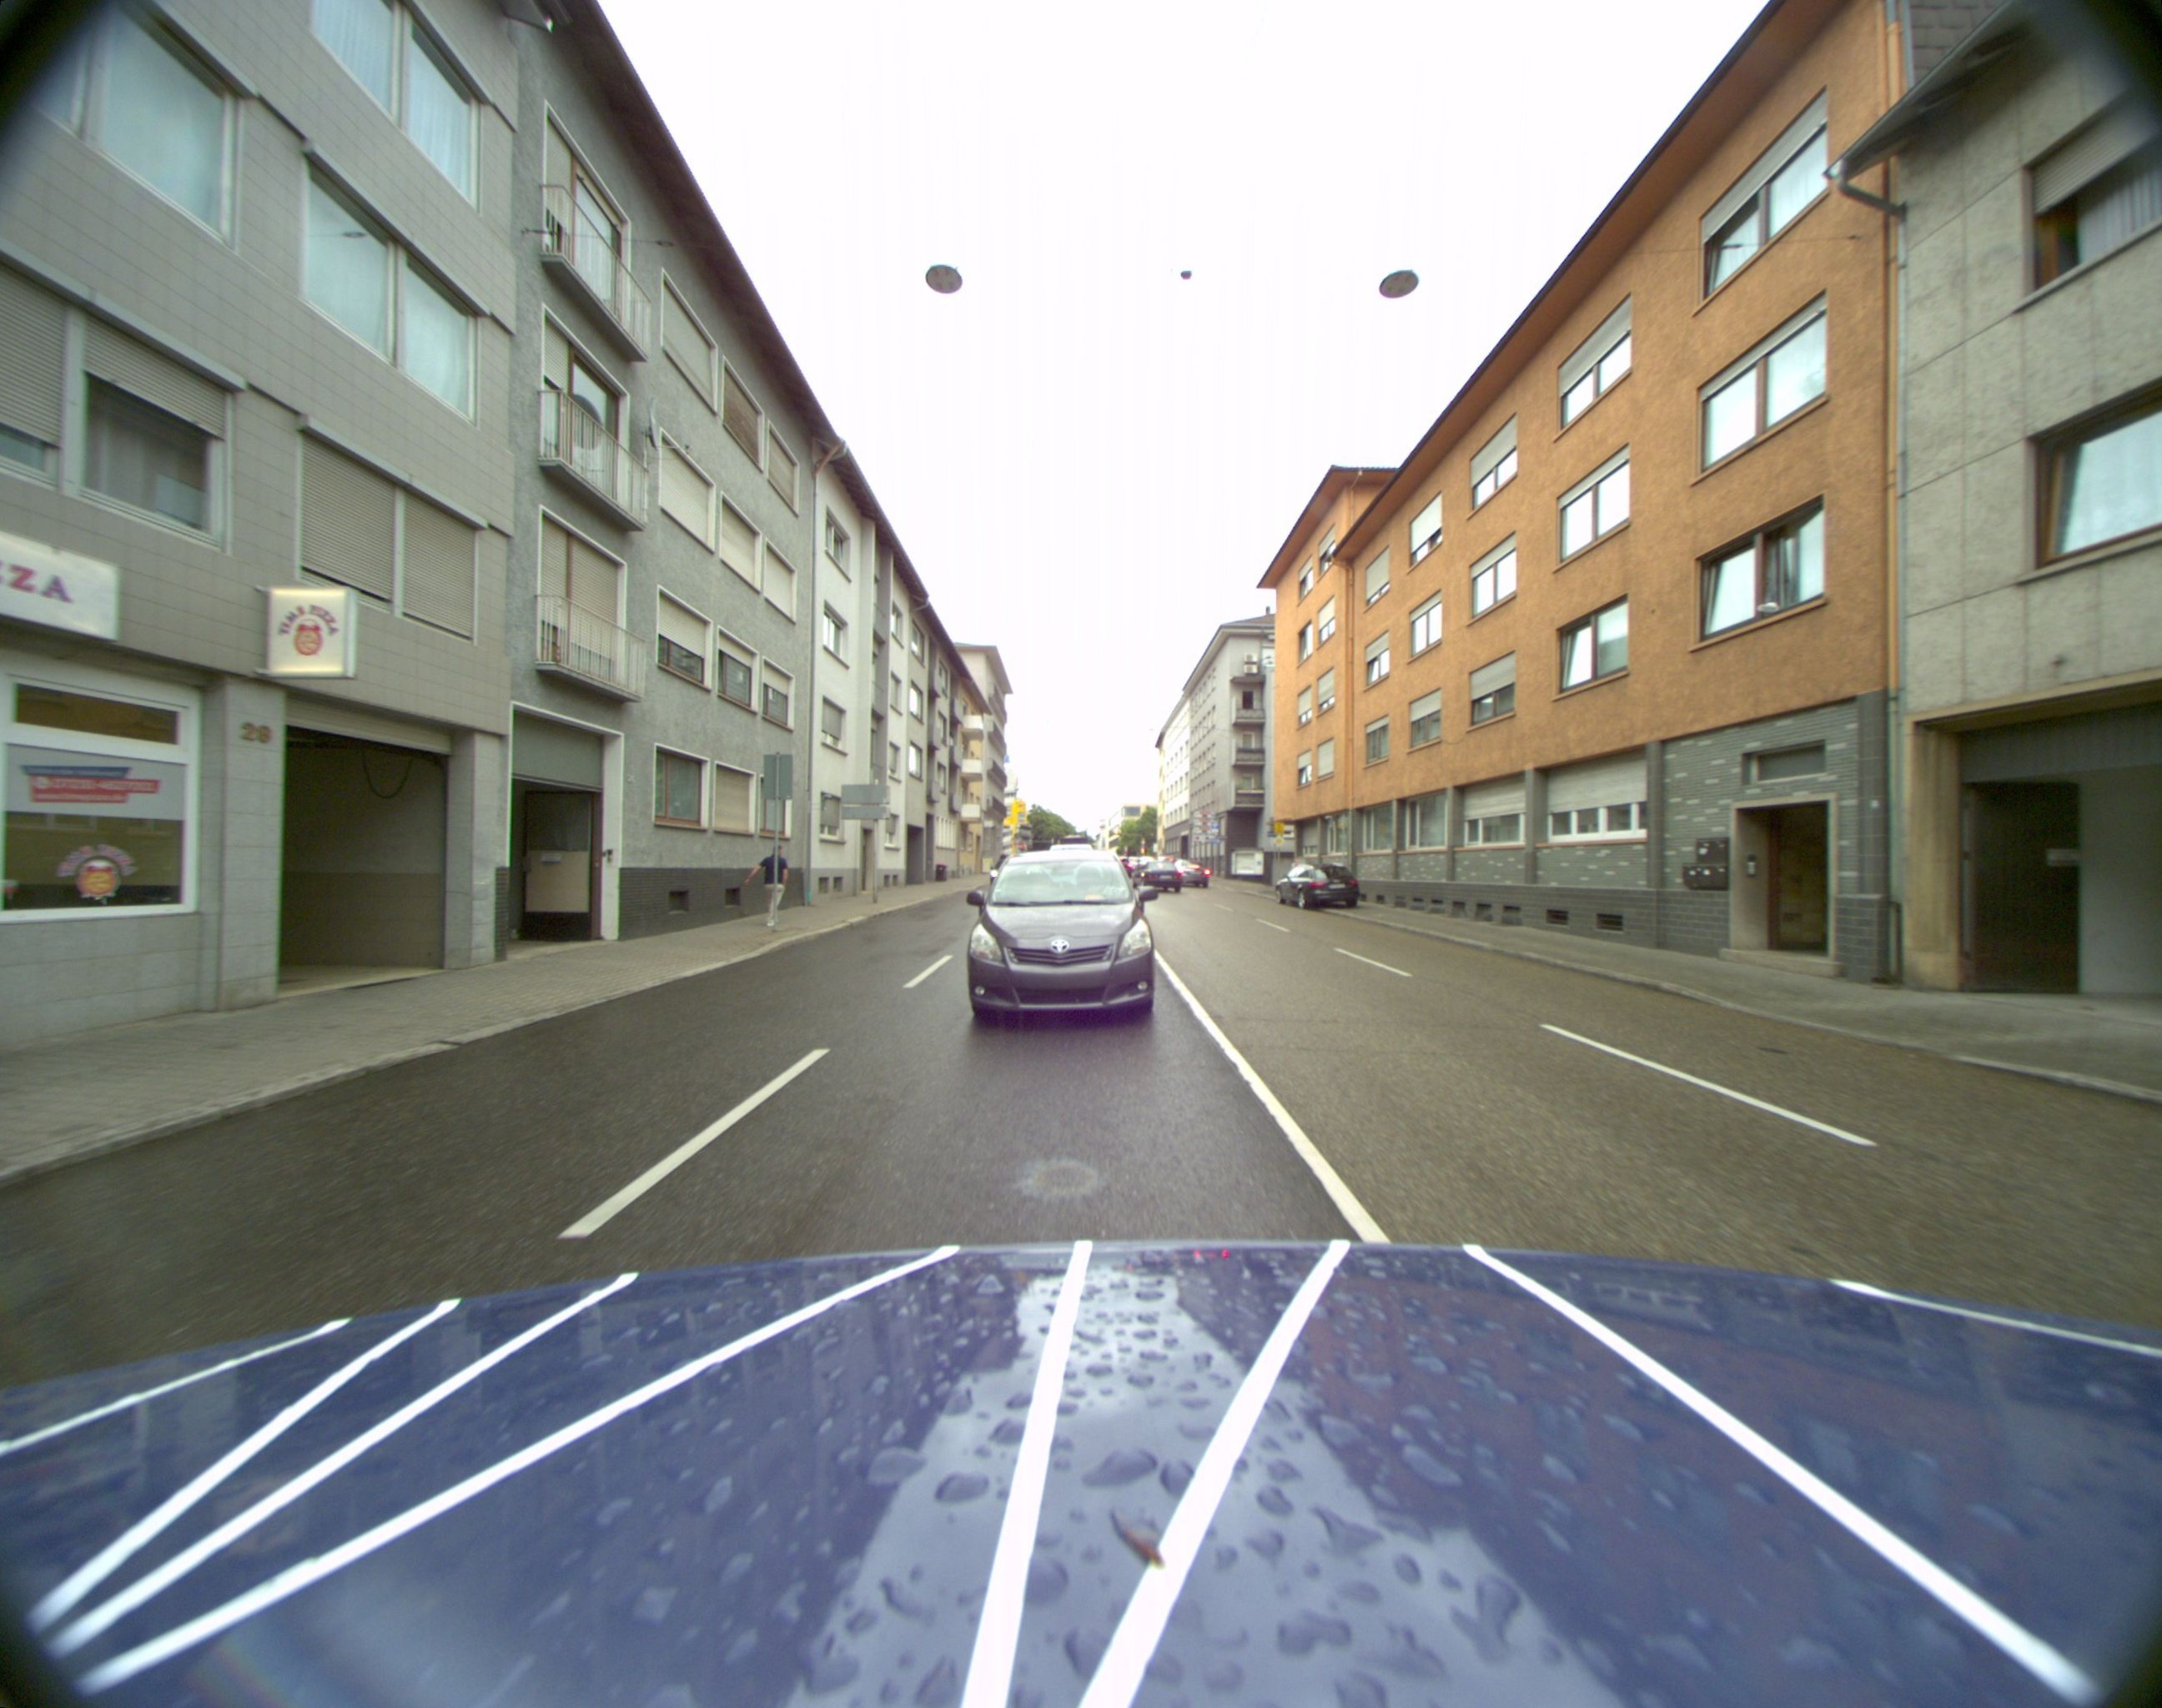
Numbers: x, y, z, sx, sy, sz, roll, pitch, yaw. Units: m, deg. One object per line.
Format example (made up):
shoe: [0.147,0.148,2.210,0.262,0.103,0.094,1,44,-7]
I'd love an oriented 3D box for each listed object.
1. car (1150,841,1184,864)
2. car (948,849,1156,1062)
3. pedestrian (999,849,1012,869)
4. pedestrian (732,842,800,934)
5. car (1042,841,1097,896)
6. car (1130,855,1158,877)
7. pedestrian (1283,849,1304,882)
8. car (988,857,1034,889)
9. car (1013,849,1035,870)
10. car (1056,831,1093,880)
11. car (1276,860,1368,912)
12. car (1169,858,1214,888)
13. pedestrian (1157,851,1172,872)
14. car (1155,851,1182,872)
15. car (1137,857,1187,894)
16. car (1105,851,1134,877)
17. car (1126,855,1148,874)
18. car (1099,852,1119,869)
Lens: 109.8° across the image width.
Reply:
car: [5.827,-0.109,51.953,1.727,1.464,4.373,2,0,-1]
car: [-0.219,0.846,8.541,1.699,1.712,4.217,-2,1,1]
pedestrian: [-6.858,0.460,69.088,1.119,1.741,0.961,1,1,-5]
pedestrian: [-6.767,0.691,16.372,0.871,1.855,1.119,4,1,0]
car: [-0.376,0.486,29.004,1.856,1.882,4.217,-2,1,1]
car: [5.030,0.924,61.117,1.699,1.531,4.435,4,1,0]
pedestrian: [10.803,0.580,38.648,0.768,1.630,1.023,-2,1,5]
car: [-3.510,0.939,38.779,1.856,1.369,4.217,-2,1,1]
car: [-5.138,0.461,68.284,1.856,1.663,4.215,-2,1,-4]
car: [-0.324,0.069,46.044,2.033,2.731,4.368,-2,1,1]
car: [8.066,1.009,25.871,1.799,1.466,4.217,-2,1,1]
car: [5.961,1.009,41.554,1.699,1.362,4.365,3,1,-1]
pedestrian: [8.307,0.763,76.071,1.309,2.002,1.258,-2,1,1]
car: [7.808,0.662,68.160,1.856,1.712,4.217,-2,1,1]
car: [3.525,0.905,33.841,1.603,1.362,4.361,3,1,-1]
car: [2.623,0.642,52.698,1.699,1.572,4.216,2,1,-1]
car: [5.442,1.009,74.065,1.856,1.651,4.610,-2,1,1]
car: [2.518,0.564,68.705,1.699,1.362,4.217,2,1,1]
